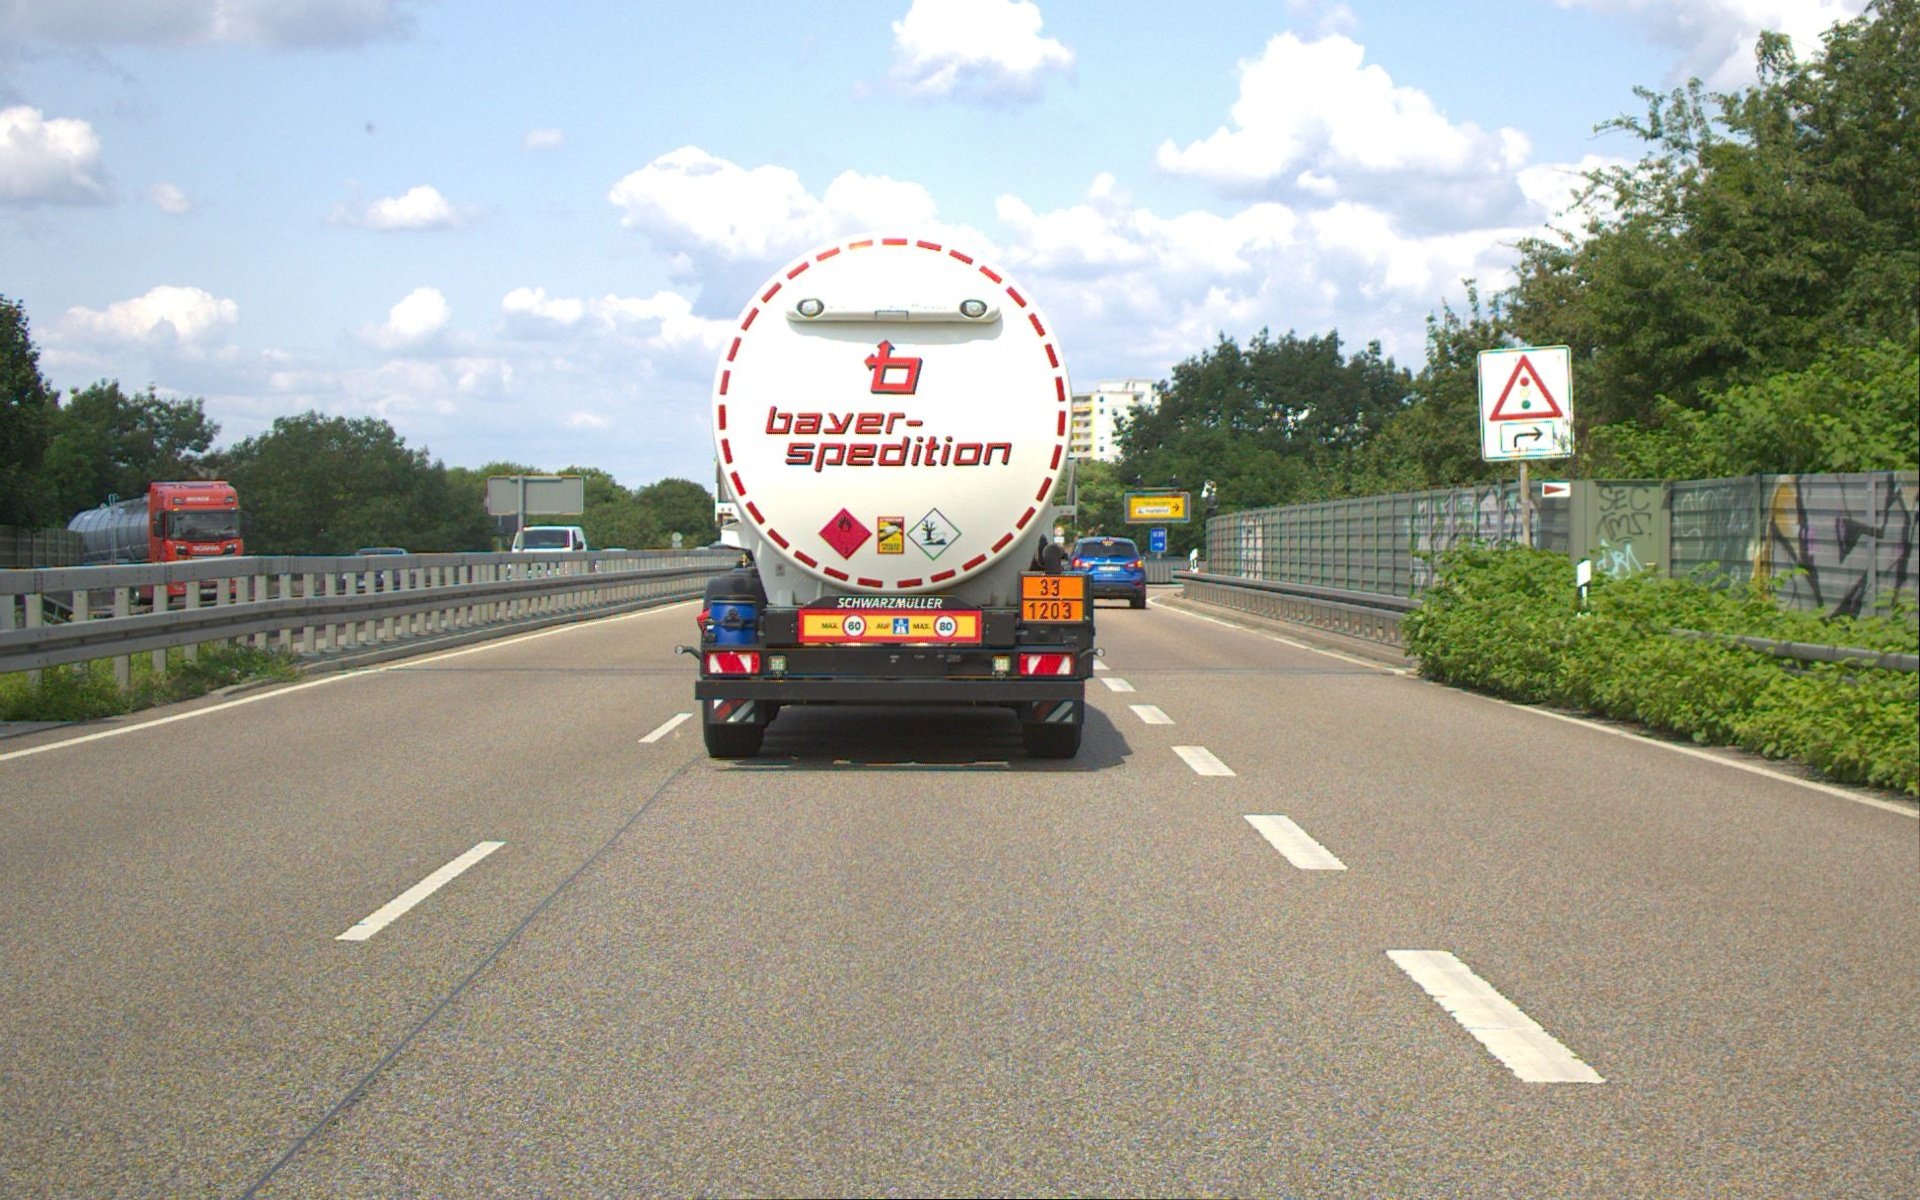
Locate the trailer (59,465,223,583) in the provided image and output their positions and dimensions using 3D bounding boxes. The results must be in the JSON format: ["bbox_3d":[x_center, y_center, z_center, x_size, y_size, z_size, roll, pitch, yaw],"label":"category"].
[{"bbox_3d":[-27.104,-2.489,113.325,2.684,3.657,11.031,1,1,-27],"label":"trailer"}]

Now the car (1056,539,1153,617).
[{"bbox_3d":[3.275,-0.518,78.560,1.993,1.700,4.000,1,1,0],"label":"car"}]

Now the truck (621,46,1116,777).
[{"bbox_3d":[-0.582,-1.188,24.820,2.895,4.354,8.030,1,1,0],"label":"truck"}]

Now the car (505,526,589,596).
[{"bbox_3d":[-12.238,-1.174,102.117,2.079,1.982,5.230,1,1,-3],"label":"car"}]

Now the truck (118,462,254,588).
[{"bbox_3d":[-24.313,-2.347,107.767,2.647,3.769,6.234,1,1,-27],"label":"truck"}]

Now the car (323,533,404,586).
[{"bbox_3d":[-16.703,-1.141,96.421,1.688,1.426,4.403,1,1,-3],"label":"car"}]
